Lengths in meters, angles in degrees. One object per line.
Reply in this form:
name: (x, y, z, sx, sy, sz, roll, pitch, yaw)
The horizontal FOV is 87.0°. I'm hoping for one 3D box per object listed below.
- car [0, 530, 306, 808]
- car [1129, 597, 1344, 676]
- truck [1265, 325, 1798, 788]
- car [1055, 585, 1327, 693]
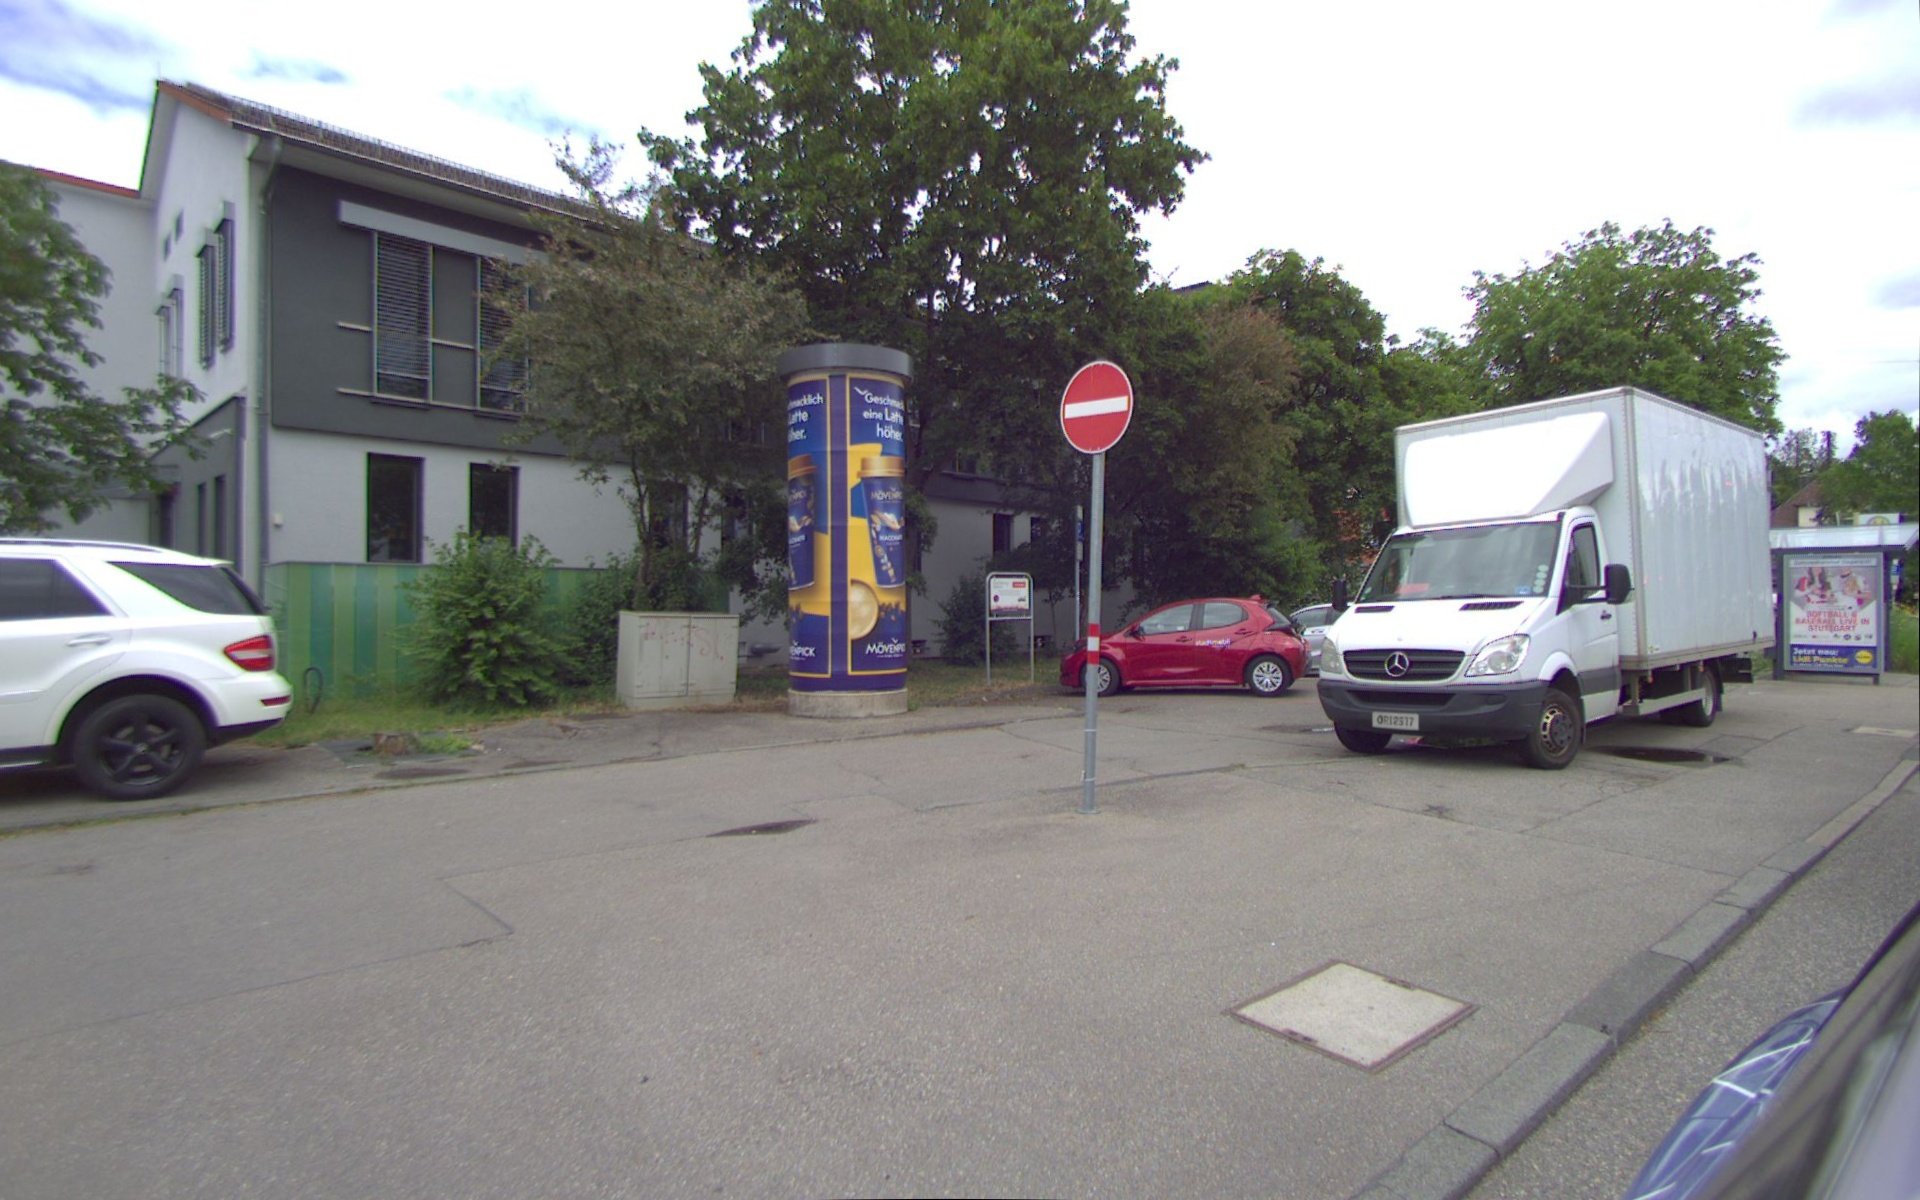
car: (-7.230, 0.442, 6.735, 4.640, 1.780, 1.855, 0, 0, -41)
car: (5.470, 0.715, 20.167, 3.946, 1.428, 1.516, -2, -1, 18)
truck: (6.612, -0.385, 11.020, 7.638, 3.469, 2.540, -1, 0, -40)
car: (3.592, 0.612, 15.771, 3.856, 1.502, 1.669, -2, -1, 25)
